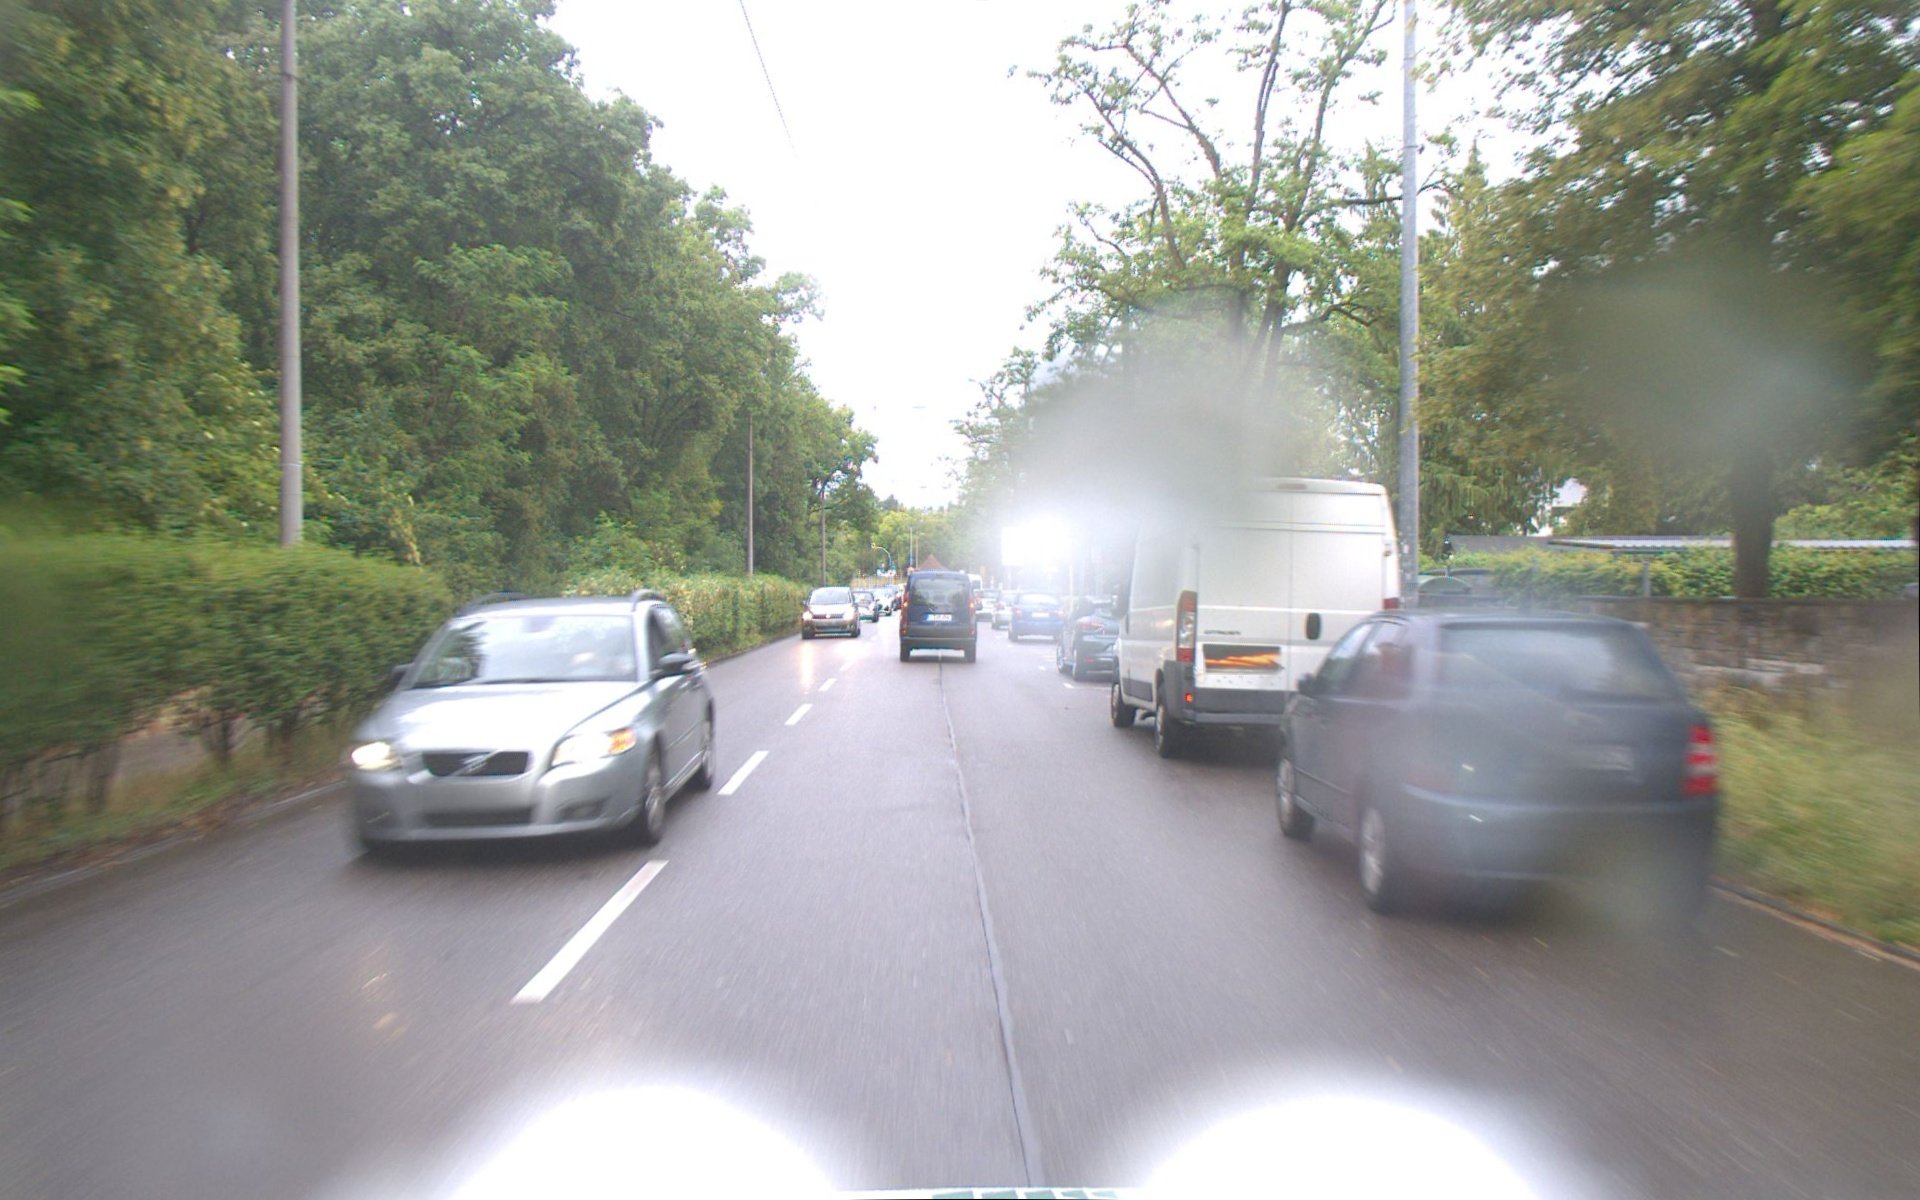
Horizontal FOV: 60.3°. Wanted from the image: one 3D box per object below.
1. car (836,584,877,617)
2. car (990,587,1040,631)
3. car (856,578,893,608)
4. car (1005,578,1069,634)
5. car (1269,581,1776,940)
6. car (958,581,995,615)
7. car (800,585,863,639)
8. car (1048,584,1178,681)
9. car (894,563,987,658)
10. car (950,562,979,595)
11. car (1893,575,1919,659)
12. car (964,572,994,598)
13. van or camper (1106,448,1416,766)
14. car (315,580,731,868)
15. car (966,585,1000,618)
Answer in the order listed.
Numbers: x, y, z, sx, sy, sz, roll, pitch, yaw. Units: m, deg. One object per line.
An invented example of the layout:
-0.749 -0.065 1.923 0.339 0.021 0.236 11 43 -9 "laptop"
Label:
-4.675 0.007 74.979 1.652 1.379 3.723 -2 1 -1 "car"
2.061 0.323 63.168 1.586 1.534 3.833 1 1 -3 "car"
-4.732 -0.429 92.068 1.818 1.493 4.446 -3 1 -1 "car"
2.294 0.152 49.947 1.686 1.532 4.050 1 1 -1 "car"
2.823 0.684 9.173 1.592 1.489 3.809 1 1 2 "car"
0.785 -0.115 79.201 1.600 1.536 2.956 1 1 -2 "car"
-3.998 0.338 51.971 1.695 1.518 3.999 -2 1 -1 "car"
2.634 0.527 29.331 1.706 1.505 3.962 1 1 -3 "car"
-0.461 0.177 34.903 1.732 1.862 3.539 1 1 -4 "car"
0.338 -1.622 126.893 2.160 2.492 4.728 0 0 -1 "car"
18.781 0.374 29.704 1.722 1.559 4.000 1 1 0 "car"
1.146 -0.928 101.513 1.664 1.551 3.866 1 1 -2 "car"
2.829 -0.005 16.899 2.036 2.696 5.345 1 1 -1 "van or camper"
-2.606 0.672 10.821 1.747 1.505 3.966 -1 0 -2 "car"
1.207 0.046 85.302 1.663 1.551 3.869 1 1 1 "car"
